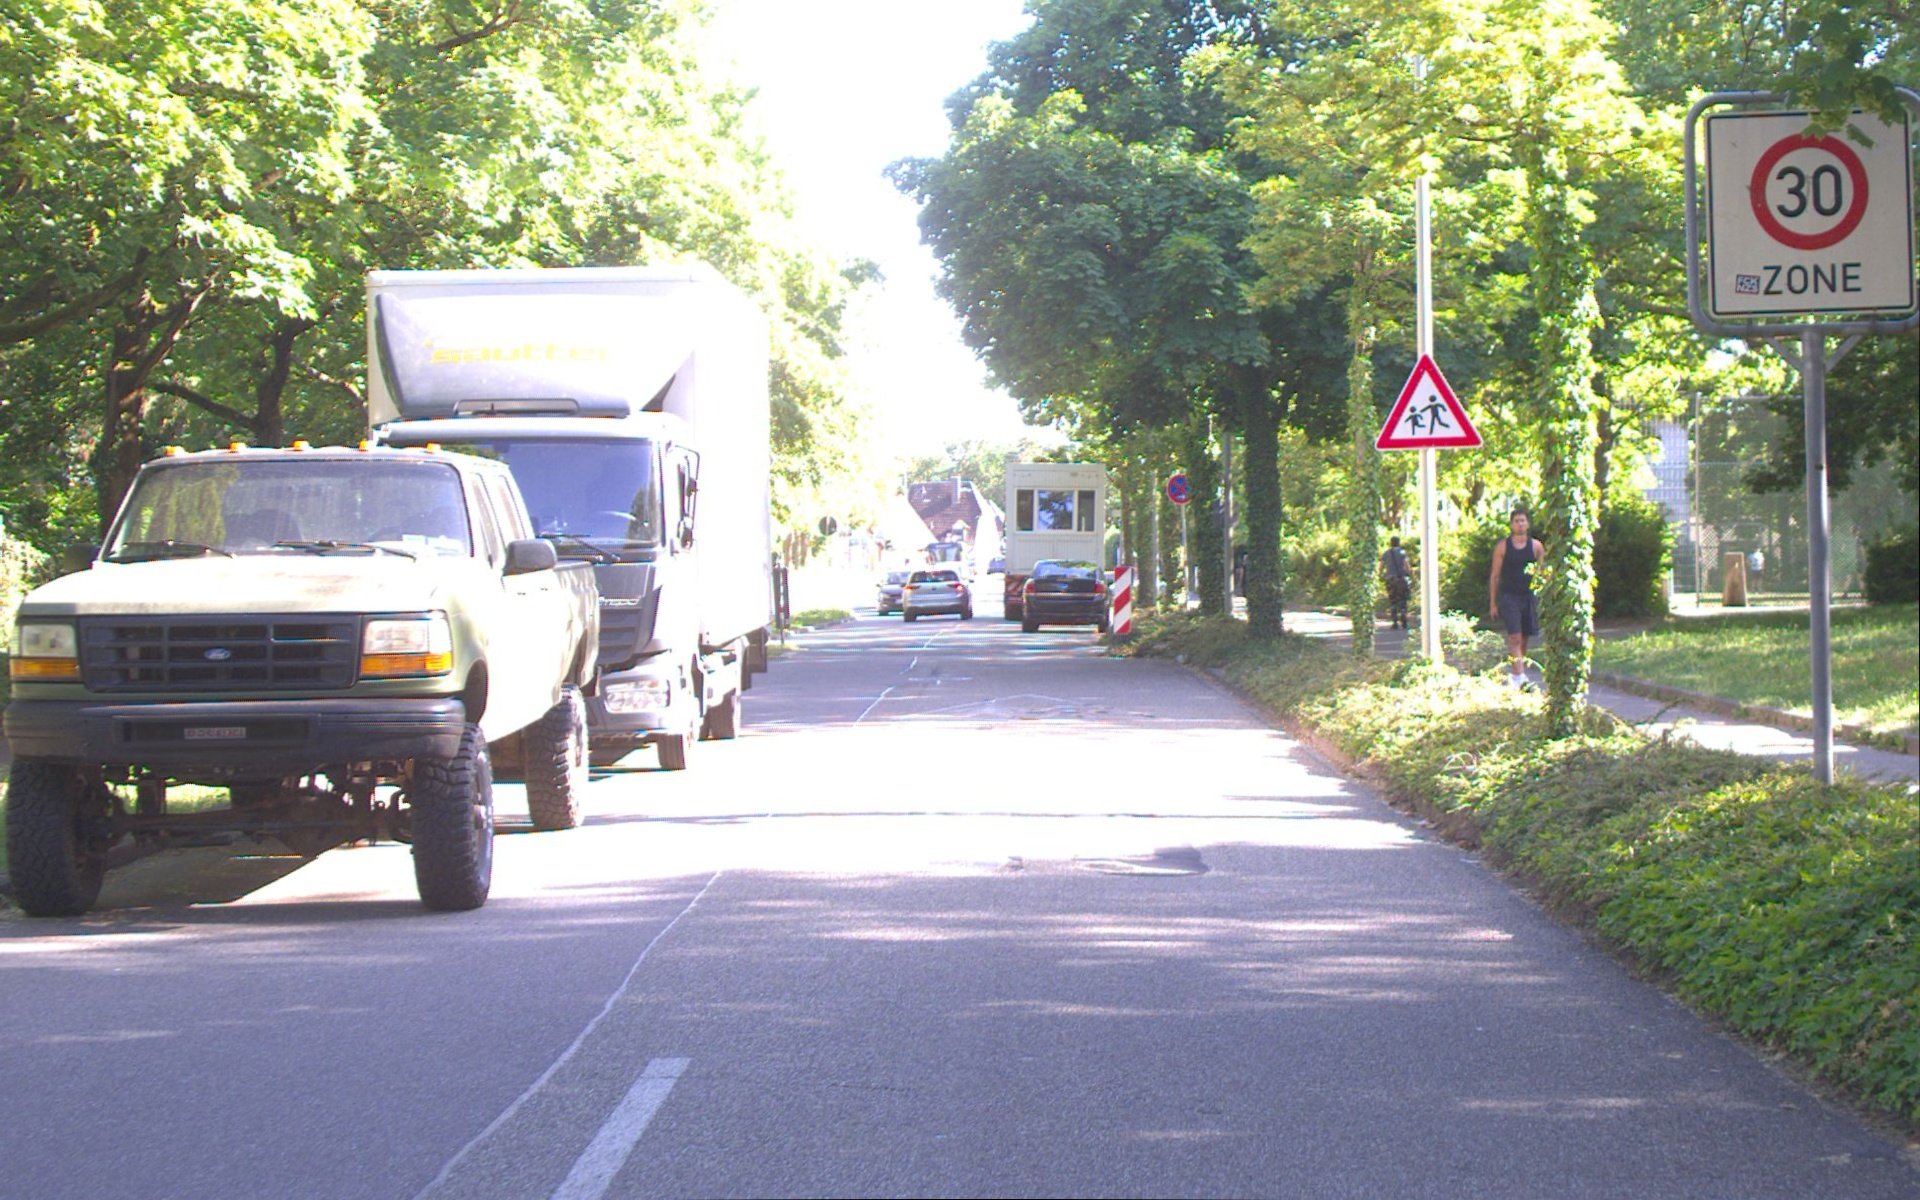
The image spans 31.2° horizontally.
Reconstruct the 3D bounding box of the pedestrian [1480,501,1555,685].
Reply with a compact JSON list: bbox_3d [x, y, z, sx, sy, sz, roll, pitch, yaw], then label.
[{"bbox_3d":[5.527,-0.072,34.123,0.648,1.814,0.650,0,1,2],"label":"pedestrian"}]

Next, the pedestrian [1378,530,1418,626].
[{"bbox_3d":[7.630,-0.382,59.921,0.648,1.655,0.650,0,1,3],"label":"pedestrian"}]

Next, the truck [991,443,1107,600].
[{"bbox_3d":[2.365,-2.060,91.232,2.887,3.931,10.000,0,1,2],"label":"truck"}]

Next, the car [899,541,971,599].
[{"bbox_3d":[-0.654,-0.823,92.383,1.794,1.505,4.000,0,1,2],"label":"car"}]

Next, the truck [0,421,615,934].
[{"bbox_3d":[-3.150,0.269,17.496,2.113,2.087,6.648,-1,1,0],"label":"truck"}]

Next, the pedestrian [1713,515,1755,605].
[{"bbox_3d":[14.384,-0.738,63.912,0.648,1.655,0.650,0,1,3],"label":"pedestrian"}]

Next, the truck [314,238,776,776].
[{"bbox_3d":[-3.033,-0.690,27.336,2.614,3.615,7.957,-1,1,0],"label":"truck"}]

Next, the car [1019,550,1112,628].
[{"bbox_3d":[2.110,-0.244,69.149,1.794,1.505,4.000,0,1,2],"label":"car"}]

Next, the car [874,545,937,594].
[{"bbox_3d":[-1.692,-0.968,108.331,1.794,1.505,4.000,0,1,2],"label":"car"}]
